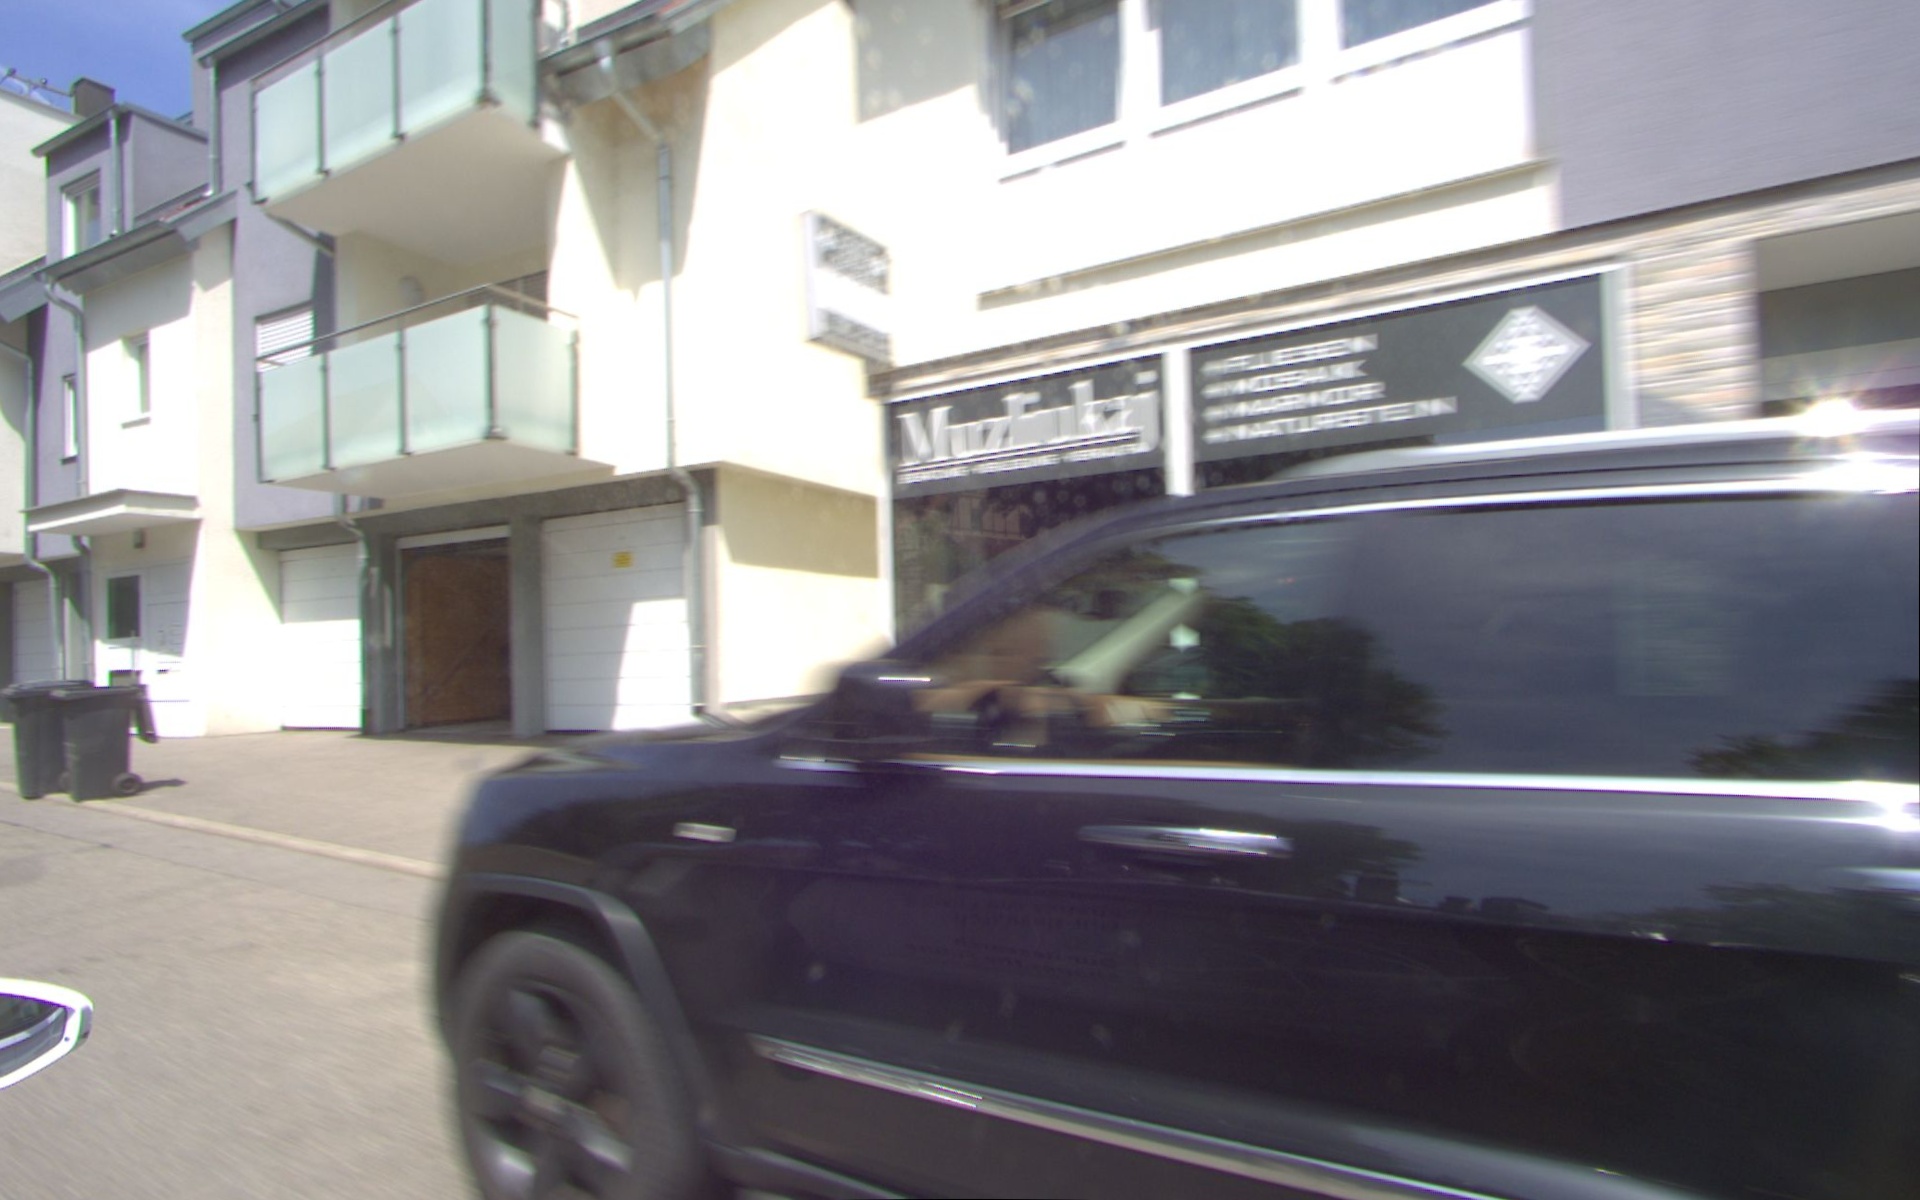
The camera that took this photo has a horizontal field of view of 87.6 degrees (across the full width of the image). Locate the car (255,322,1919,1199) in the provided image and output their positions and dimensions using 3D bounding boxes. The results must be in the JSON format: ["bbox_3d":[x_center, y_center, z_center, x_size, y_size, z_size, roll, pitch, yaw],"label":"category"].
[{"bbox_3d":[0.621,0.611,2.354,4.645,1.738,1.951,-1,-1,30],"label":"car"}]

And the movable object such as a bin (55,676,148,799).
[{"bbox_3d":[-7.059,1.114,8.238,0.484,0.937,0.430,0,1,30],"label":"movable object such as a bin"}]

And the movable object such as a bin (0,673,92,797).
[{"bbox_3d":[-7.747,1.122,8.471,0.509,0.969,0.430,0,2,30],"label":"movable object such as a bin"}]
